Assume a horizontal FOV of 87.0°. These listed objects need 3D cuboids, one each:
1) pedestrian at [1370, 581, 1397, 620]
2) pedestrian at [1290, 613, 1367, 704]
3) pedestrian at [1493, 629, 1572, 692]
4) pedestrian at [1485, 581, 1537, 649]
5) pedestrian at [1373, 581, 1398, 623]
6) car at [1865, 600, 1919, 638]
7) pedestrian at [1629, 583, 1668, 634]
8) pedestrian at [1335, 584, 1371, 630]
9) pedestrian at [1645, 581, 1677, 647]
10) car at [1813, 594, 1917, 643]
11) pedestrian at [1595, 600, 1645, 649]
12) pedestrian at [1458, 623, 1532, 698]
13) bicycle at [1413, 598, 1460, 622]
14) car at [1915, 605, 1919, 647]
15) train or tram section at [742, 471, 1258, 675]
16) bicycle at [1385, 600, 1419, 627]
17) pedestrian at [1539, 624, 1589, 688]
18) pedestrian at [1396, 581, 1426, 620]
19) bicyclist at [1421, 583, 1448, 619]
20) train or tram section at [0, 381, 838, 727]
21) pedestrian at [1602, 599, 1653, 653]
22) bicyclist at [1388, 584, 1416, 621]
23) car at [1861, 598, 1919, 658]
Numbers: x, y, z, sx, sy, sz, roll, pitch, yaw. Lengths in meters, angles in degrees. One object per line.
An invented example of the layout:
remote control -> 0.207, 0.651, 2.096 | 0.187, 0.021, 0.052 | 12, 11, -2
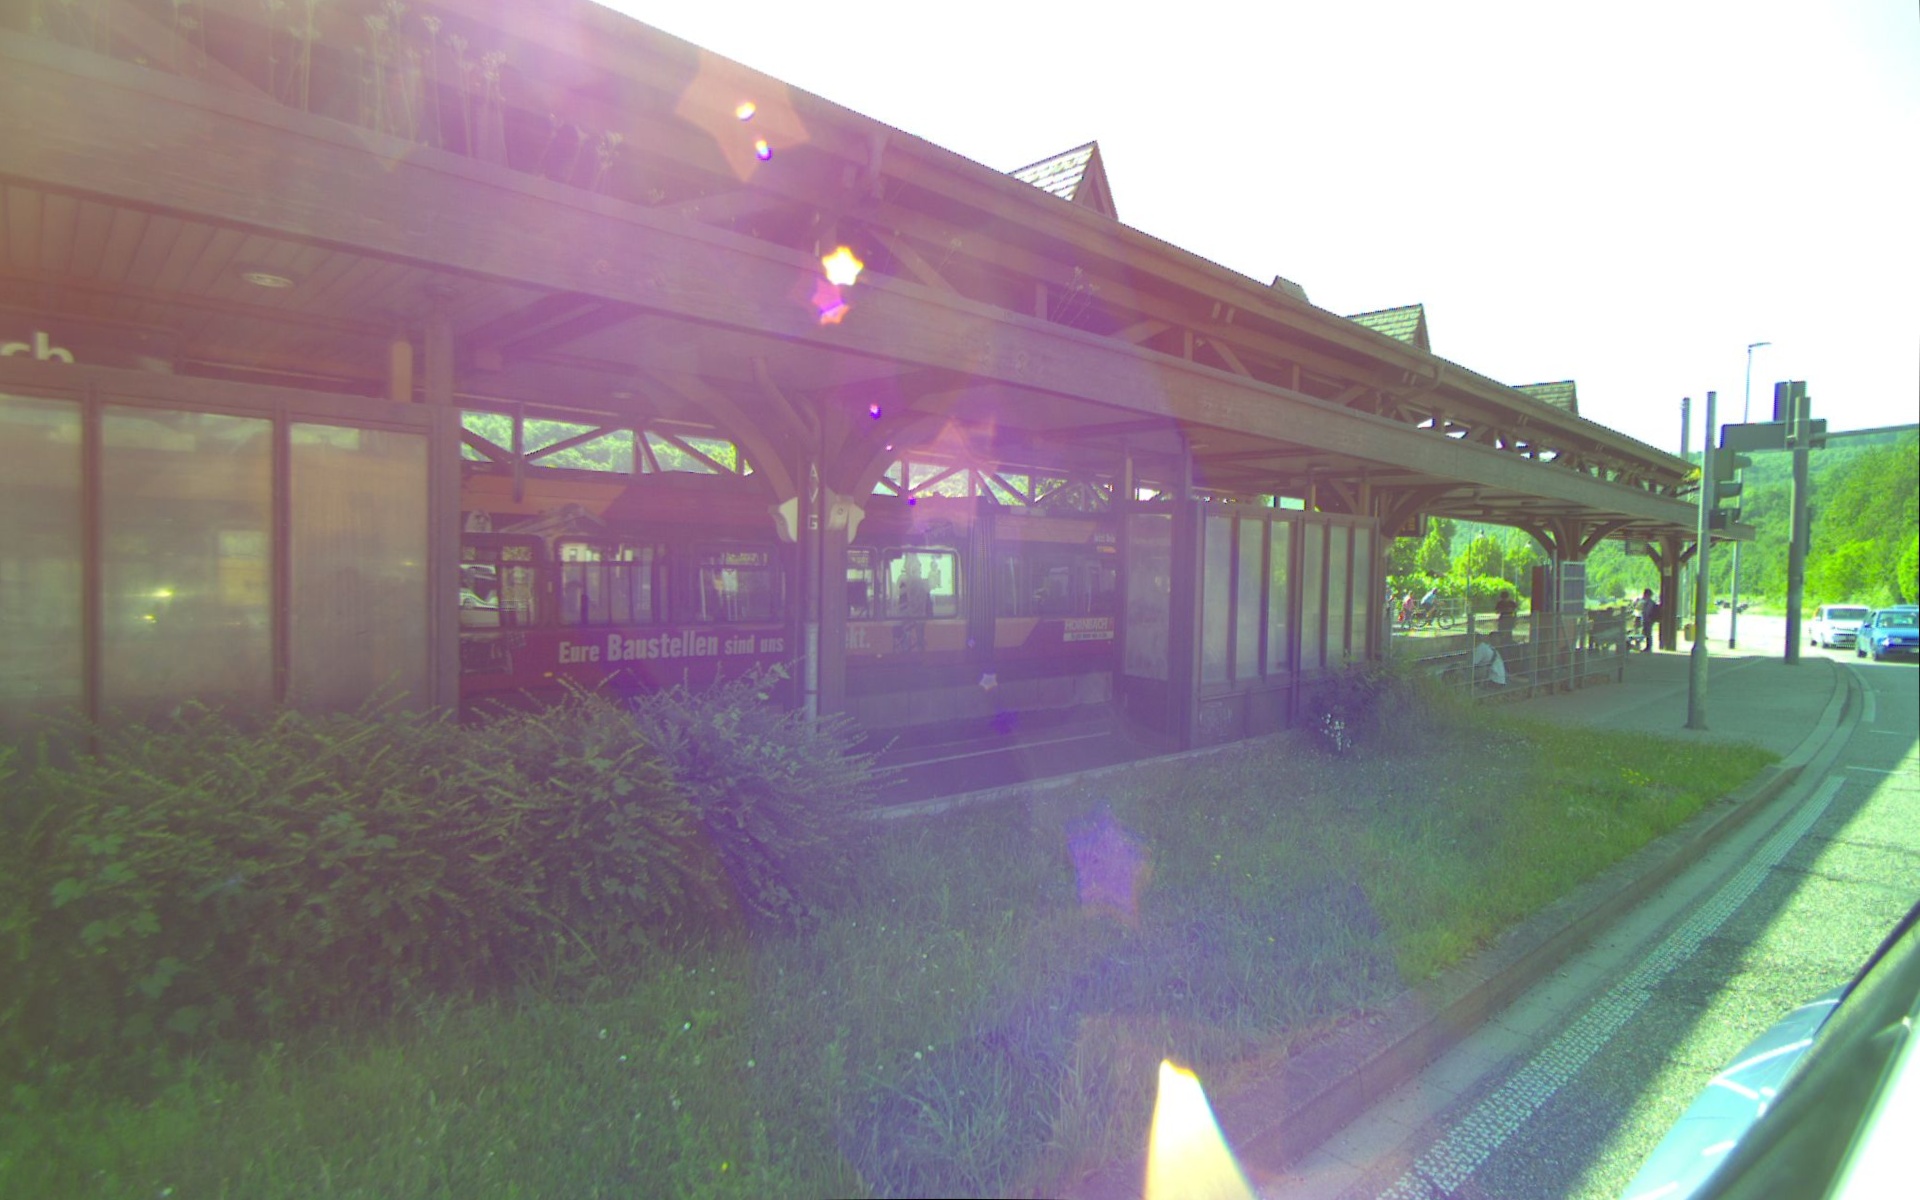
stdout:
pedestrian -> 18.765, 0.038, 44.803 | 0.865, 1.706, 0.809 | -1, -2, 43
pedestrian -> 4.761, 0.735, 13.084 | 0.742, 1.131, 0.657 | -1, -2, 43
pedestrian -> 8.436, 0.877, 14.919 | 0.844, 0.885, 0.795 | -1, -2, 43
pedestrian -> 13.254, 0.357, 24.344 | 0.861, 1.567, 0.907 | 2, 0, 44
pedestrian -> 17.696, 0.101, 42.088 | 0.895, 1.706, 0.814 | 0, -2, 27
car -> 39.469, 0.797, 42.186 | 1.966, 1.523, 3.940 | 0, -1, 32
pedestrian -> 23.943, 0.303, 35.171 | 0.914, 1.759, 1.231 | -1, -2, 44
pedestrian -> 16.421, 0.307, 42.274 | 1.054, 1.867, 0.989 | 3, -2, -40
pedestrian -> 18.738, 0.369, 27.035 | 0.655, 1.713, 0.729 | 2, 1, 36
car -> 31.168, 0.621, 34.974 | 1.985, 1.605, 3.954 | -1, -1, 32
pedestrian -> 16.602, 0.603, 25.465 | 1.004, 1.174, 0.936 | 1, 1, 37
pedestrian -> 7.450, 0.825, 14.094 | 0.742, 0.995, 0.757 | -1, -2, 43
bicycle -> 21.280, 0.455, 45.190 | 1.788, 1.069, 0.601 | -1, -1, 16
car -> 34.744, 0.926, 34.747 | 1.966, 1.523, 4.695 | 0, -1, 32
train or tram section -> 1.917, -0.488, 22.943 | 14.119, 3.407, 2.857 | 0, 0, -45
bicycle -> 20.724, 0.640, 47.409 | 0.869, 1.270, 2.262 | -1, -2, 39
pedestrian -> 9.603, 0.880, 16.094 | 0.617, 0.978, 0.400 | -1, -2, 43
pedestrian -> 19.736, 0.034, 44.292 | 0.805, 1.706, 0.905 | 1, -2, -13
bicyclist -> 21.209, 0.058, 45.260 | 0.933, 1.589, 0.783 | -1, -1, 16
train or tram section -> -7.296, -0.484, 13.937 | 11.846, 3.407, 2.789 | -1, 0, -43
pedestrian -> 16.060, 0.620, 24.345 | 0.988, 1.251, 0.588 | -1, -2, 37
bicyclist -> 20.676, 0.124, 47.368 | 1.005, 1.748, 0.853 | -1, -2, 40
car -> 25.996, 0.722, 27.360 | 1.854, 1.501, 4.249 | 2, 1, 34
